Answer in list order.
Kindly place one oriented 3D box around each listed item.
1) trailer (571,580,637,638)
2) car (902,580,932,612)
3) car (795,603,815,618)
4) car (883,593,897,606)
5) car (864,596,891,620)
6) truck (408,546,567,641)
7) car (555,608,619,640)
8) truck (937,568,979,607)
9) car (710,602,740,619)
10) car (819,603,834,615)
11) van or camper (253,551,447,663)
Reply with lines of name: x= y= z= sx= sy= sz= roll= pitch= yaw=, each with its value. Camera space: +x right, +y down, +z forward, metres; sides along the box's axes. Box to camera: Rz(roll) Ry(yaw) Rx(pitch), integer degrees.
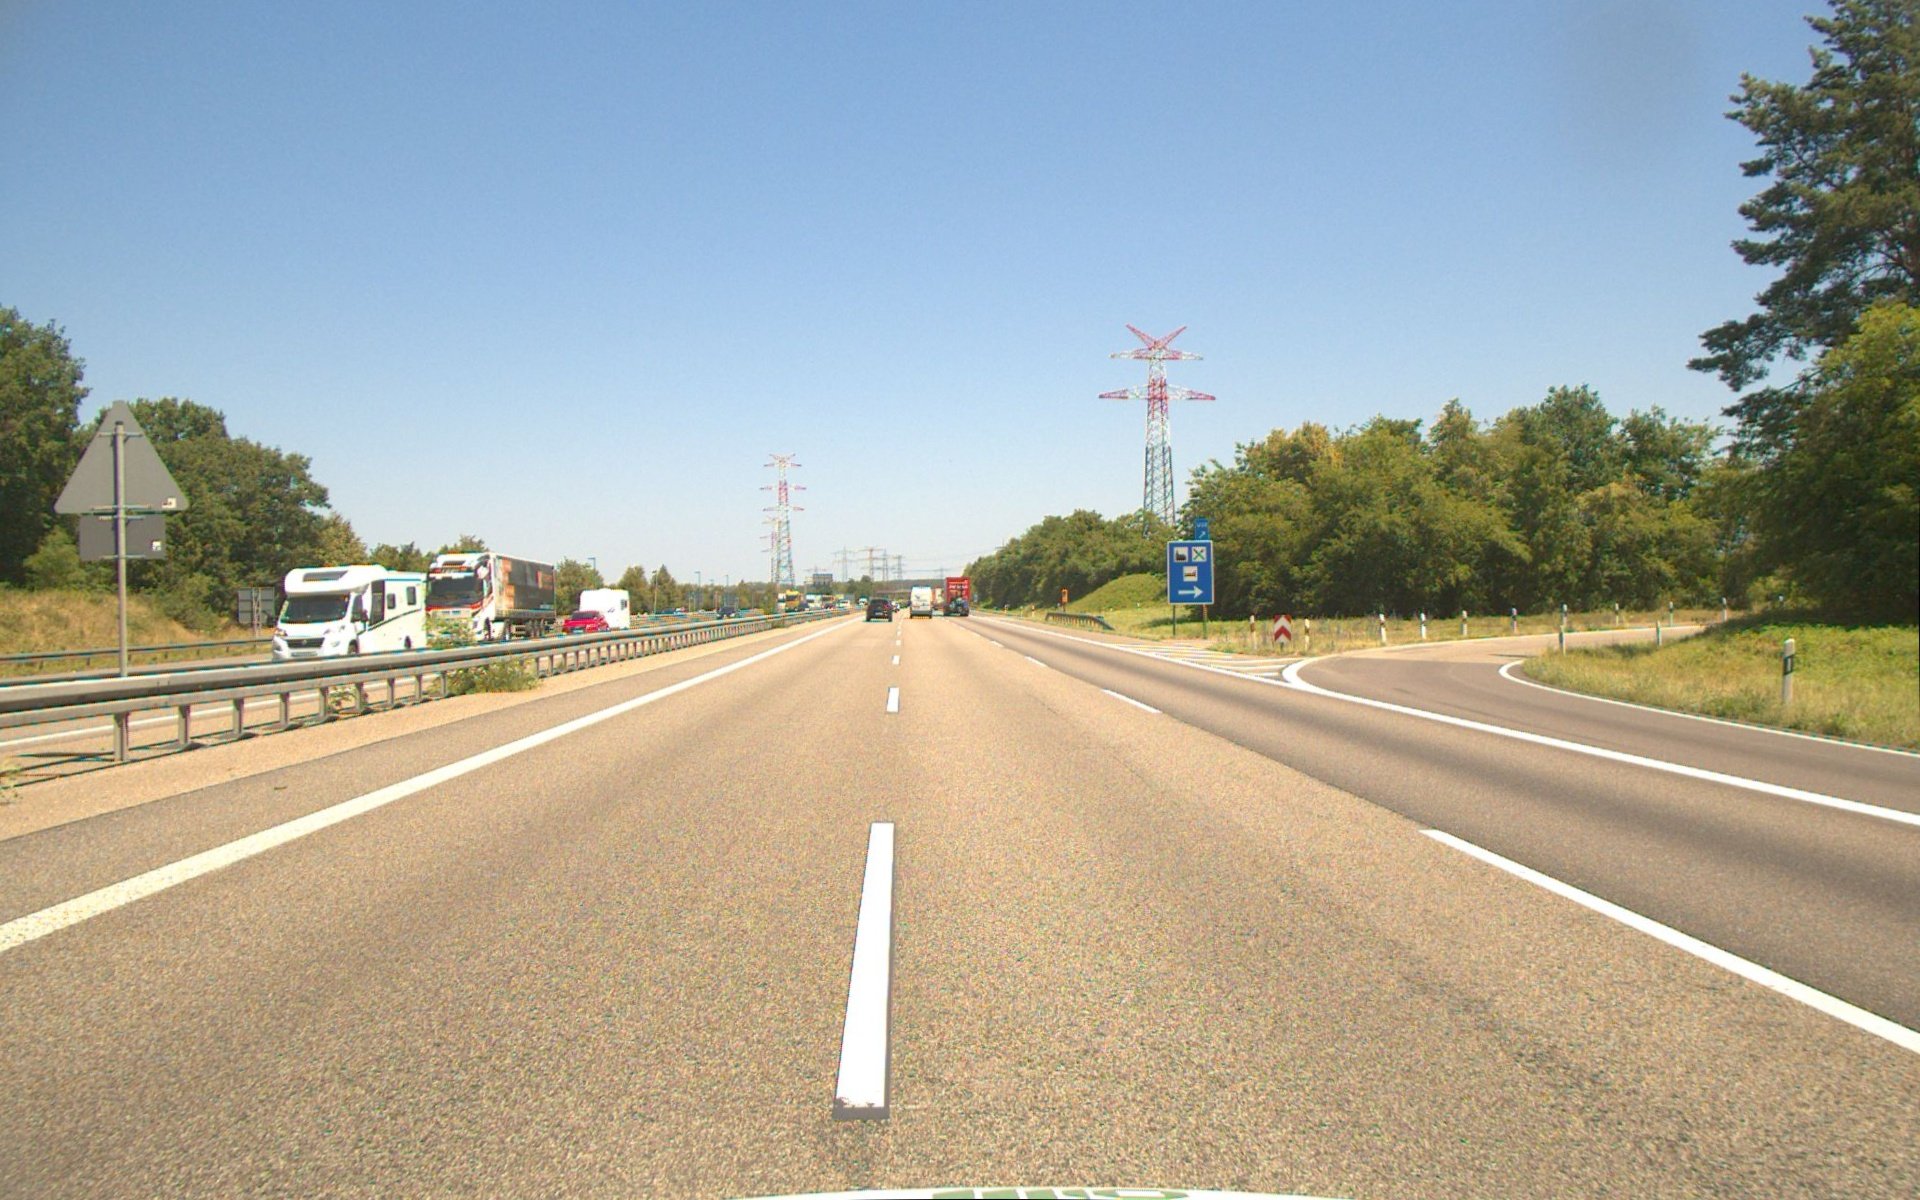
trailer: x=-18.488 y=0.427 z=86.178 sx=2.427 sy=2.795 sz=5.072 roll=-3 pitch=0 yaw=-2
car: x=-3.918 y=-0.355 z=149.758 sx=2.568 sy=2.807 sz=6.094 roll=1 pitch=0 yaw=-2
car: x=-18.259 y=1.215 z=194.572 sx=2.011 sy=1.578 sz=4.888 roll=-3 pitch=0 yaw=-2
car: x=-9.094 y=-0.064 z=215.444 sx=1.712 sy=1.662 sz=4.002 roll=1 pitch=0 yaw=-2
car: x=-6.196 y=0.582 z=124.403 sx=1.953 sy=1.780 sz=3.998 roll=1 pitch=0 yaw=-2
truck: x=-22.506 y=-0.273 z=80.208 sx=3.259 sy=4.066 sz=16.861 roll=-1 pitch=0 yaw=-2
car: x=-18.292 y=1.158 z=81.290 sx=2.183 sy=1.404 sz=4.690 roll=-3 pitch=0 yaw=-2
truck: x=-0.343 y=-1.331 z=181.219 sx=4.244 sy=4.010 sz=16.072 roll=1 pitch=0 yaw=-1
car: x=-21.212 y=0.913 z=149.441 sx=2.183 sy=1.404 sz=4.888 roll=-3 pitch=0 yaw=-2
car: x=-20.522 y=1.368 z=253.741 sx=2.011 sy=1.578 sz=4.888 roll=-3 pitch=0 yaw=-2
van or camper: x=-17.227 y=0.170 z=47.386 sx=2.451 sy=2.859 sz=8.560 roll=-1 pitch=0 yaw=-1
